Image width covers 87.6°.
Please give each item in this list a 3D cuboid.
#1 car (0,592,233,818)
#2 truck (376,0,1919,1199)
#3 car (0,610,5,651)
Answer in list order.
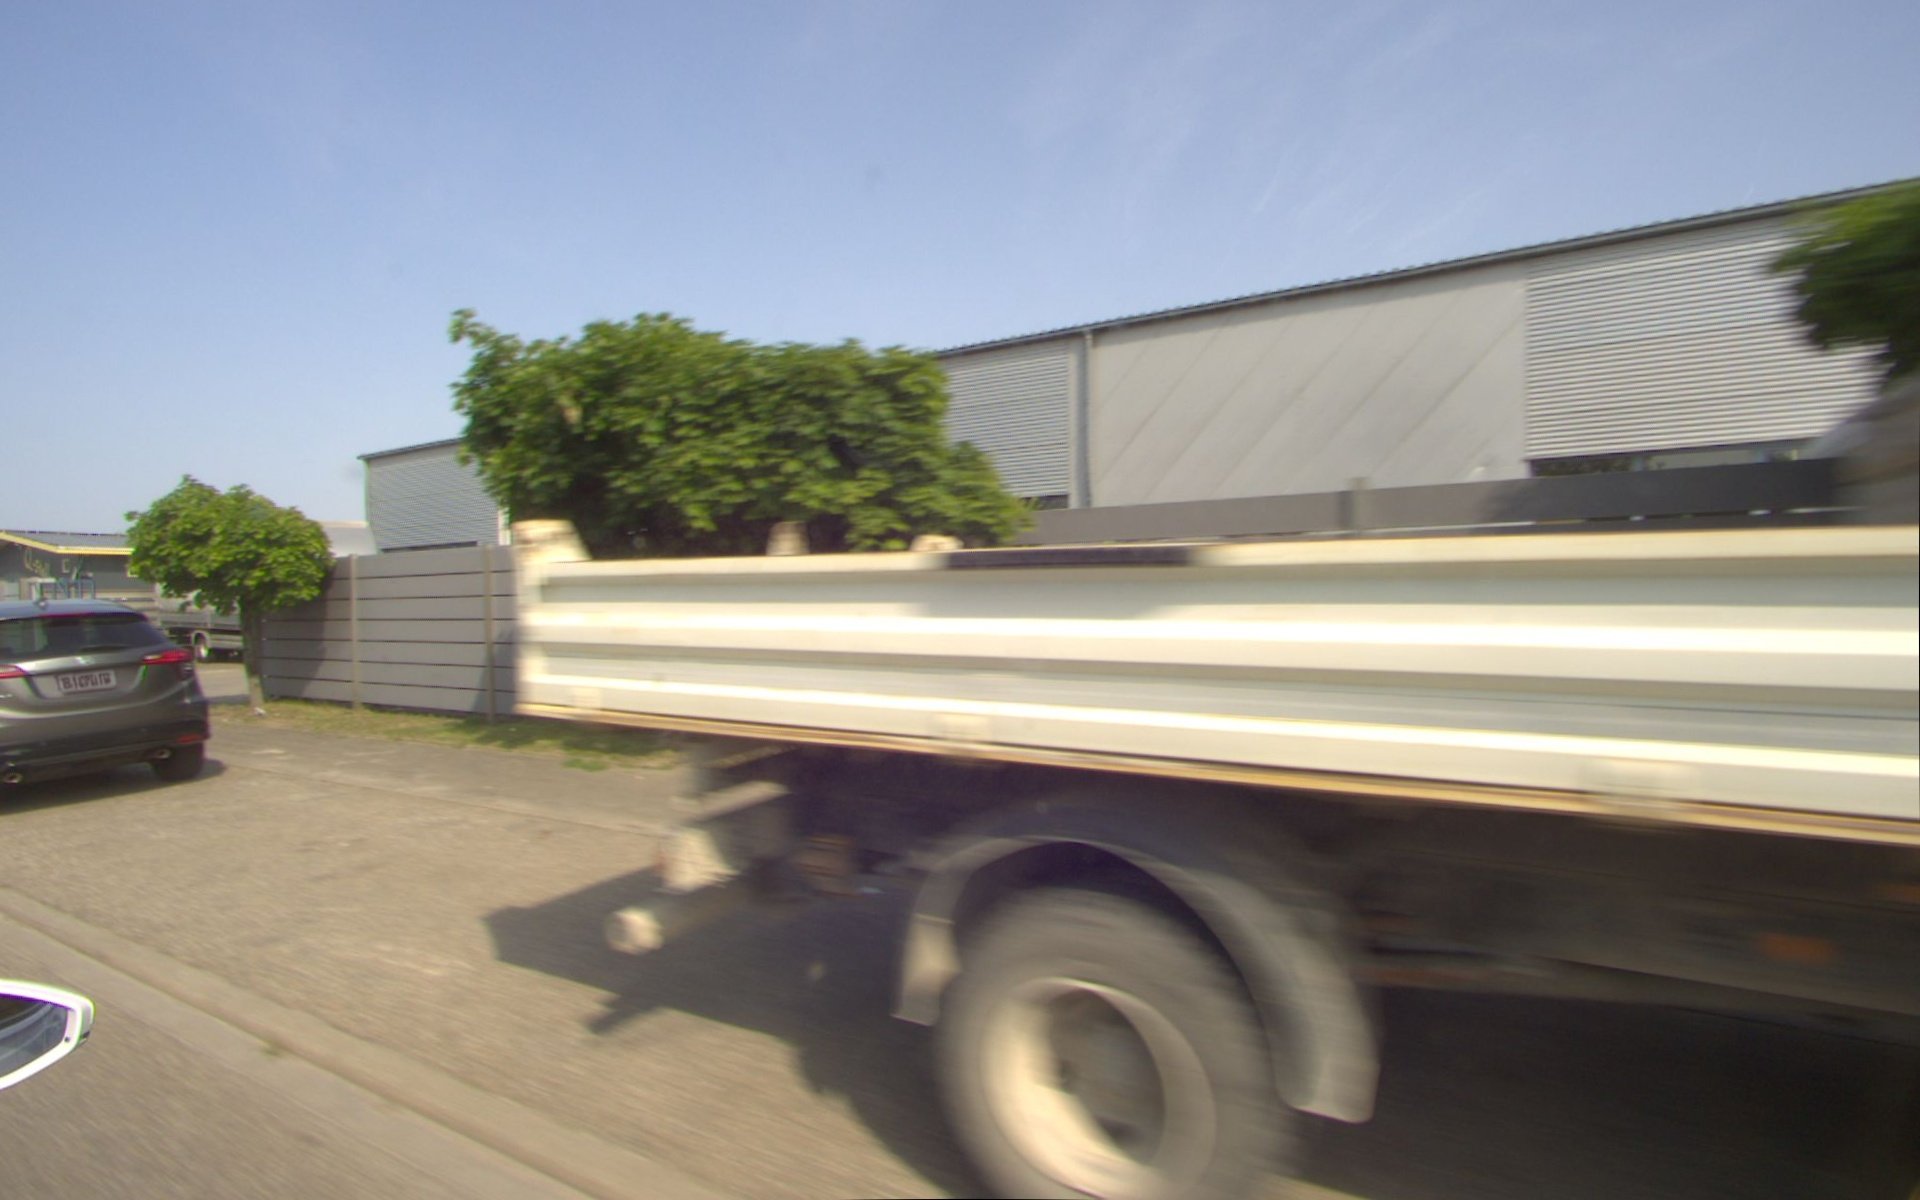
[{"bbox_3d":[-8.208,0.769,8.615,3.943,1.581,1.790,-1,1,32],"label":"car"},{"bbox_3d":[1.682,-0.034,2.400,6.412,2.718,2.355,-1,1,29],"label":"truck"},{"bbox_3d":[-31.896,1.019,31.081,1.376,1.283,3.127,0,2,41],"label":"car"}]
